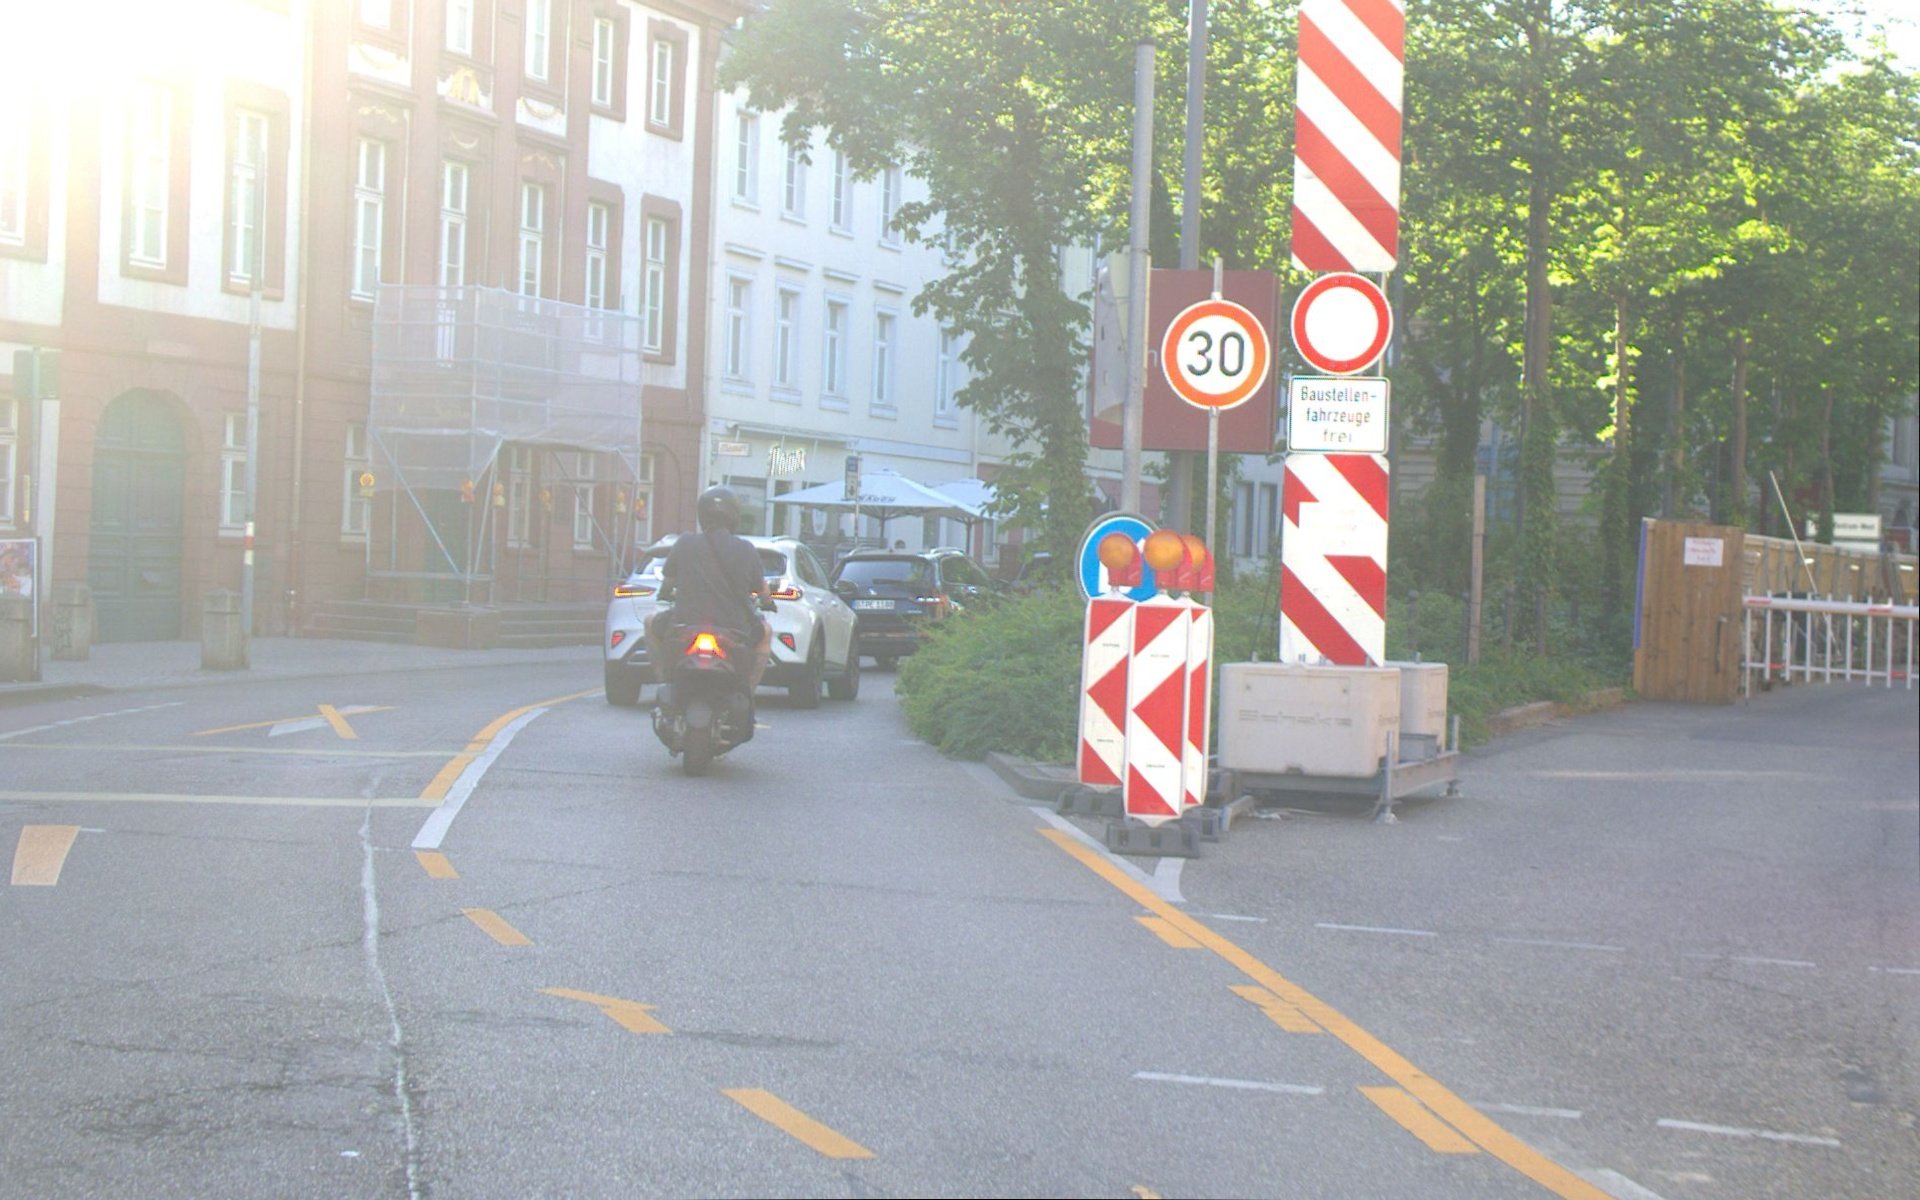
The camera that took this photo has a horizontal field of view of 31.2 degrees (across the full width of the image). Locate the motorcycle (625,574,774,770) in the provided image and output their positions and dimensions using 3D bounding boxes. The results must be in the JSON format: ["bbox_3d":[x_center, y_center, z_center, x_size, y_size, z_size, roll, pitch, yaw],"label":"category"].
[{"bbox_3d":[-1.538,0.407,20.521,0.796,1.062,1.725,2,1,-3],"label":"motorcycle"}]

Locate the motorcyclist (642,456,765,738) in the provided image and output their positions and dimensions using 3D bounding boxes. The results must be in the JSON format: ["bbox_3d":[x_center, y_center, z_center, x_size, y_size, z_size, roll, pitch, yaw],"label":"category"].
[{"bbox_3d":[-1.539,-0.022,20.697,0.657,1.645,0.651,2,1,-2],"label":"motorcyclist"}]

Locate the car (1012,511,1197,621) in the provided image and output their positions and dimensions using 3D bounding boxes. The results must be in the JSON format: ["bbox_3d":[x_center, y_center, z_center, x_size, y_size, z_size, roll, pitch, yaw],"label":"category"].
[{"bbox_3d":[2.473,-0.567,57.828,1.842,1.707,4.053,3,1,21],"label":"car"}]

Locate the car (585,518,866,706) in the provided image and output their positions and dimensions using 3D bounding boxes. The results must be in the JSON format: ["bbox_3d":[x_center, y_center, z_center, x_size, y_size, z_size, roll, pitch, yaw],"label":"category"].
[{"bbox_3d":[-1.996,0.061,30.375,1.851,1.475,4.057,3,1,4],"label":"car"}]

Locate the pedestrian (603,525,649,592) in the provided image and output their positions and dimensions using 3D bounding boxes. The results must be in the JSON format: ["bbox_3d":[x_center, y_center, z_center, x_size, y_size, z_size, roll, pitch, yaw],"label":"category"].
[{"bbox_3d":[-5.348,-0.666,55.118,0.537,1.049,0.551,3,1,15],"label":"pedestrian"}]

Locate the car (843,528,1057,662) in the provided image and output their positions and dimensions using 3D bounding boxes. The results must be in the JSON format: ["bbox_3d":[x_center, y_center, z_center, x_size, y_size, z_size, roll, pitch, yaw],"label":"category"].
[{"bbox_3d":[-0.062,-0.092,41.471,1.841,1.458,4.056,3,1,10],"label":"car"}]

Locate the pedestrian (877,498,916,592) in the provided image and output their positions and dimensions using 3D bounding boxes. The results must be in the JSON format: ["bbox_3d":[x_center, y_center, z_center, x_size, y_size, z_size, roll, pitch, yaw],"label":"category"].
[{"bbox_3d":[-1.196,-1.034,64.893,0.438,1.769,0.596,2,1,32],"label":"pedestrian"}]
